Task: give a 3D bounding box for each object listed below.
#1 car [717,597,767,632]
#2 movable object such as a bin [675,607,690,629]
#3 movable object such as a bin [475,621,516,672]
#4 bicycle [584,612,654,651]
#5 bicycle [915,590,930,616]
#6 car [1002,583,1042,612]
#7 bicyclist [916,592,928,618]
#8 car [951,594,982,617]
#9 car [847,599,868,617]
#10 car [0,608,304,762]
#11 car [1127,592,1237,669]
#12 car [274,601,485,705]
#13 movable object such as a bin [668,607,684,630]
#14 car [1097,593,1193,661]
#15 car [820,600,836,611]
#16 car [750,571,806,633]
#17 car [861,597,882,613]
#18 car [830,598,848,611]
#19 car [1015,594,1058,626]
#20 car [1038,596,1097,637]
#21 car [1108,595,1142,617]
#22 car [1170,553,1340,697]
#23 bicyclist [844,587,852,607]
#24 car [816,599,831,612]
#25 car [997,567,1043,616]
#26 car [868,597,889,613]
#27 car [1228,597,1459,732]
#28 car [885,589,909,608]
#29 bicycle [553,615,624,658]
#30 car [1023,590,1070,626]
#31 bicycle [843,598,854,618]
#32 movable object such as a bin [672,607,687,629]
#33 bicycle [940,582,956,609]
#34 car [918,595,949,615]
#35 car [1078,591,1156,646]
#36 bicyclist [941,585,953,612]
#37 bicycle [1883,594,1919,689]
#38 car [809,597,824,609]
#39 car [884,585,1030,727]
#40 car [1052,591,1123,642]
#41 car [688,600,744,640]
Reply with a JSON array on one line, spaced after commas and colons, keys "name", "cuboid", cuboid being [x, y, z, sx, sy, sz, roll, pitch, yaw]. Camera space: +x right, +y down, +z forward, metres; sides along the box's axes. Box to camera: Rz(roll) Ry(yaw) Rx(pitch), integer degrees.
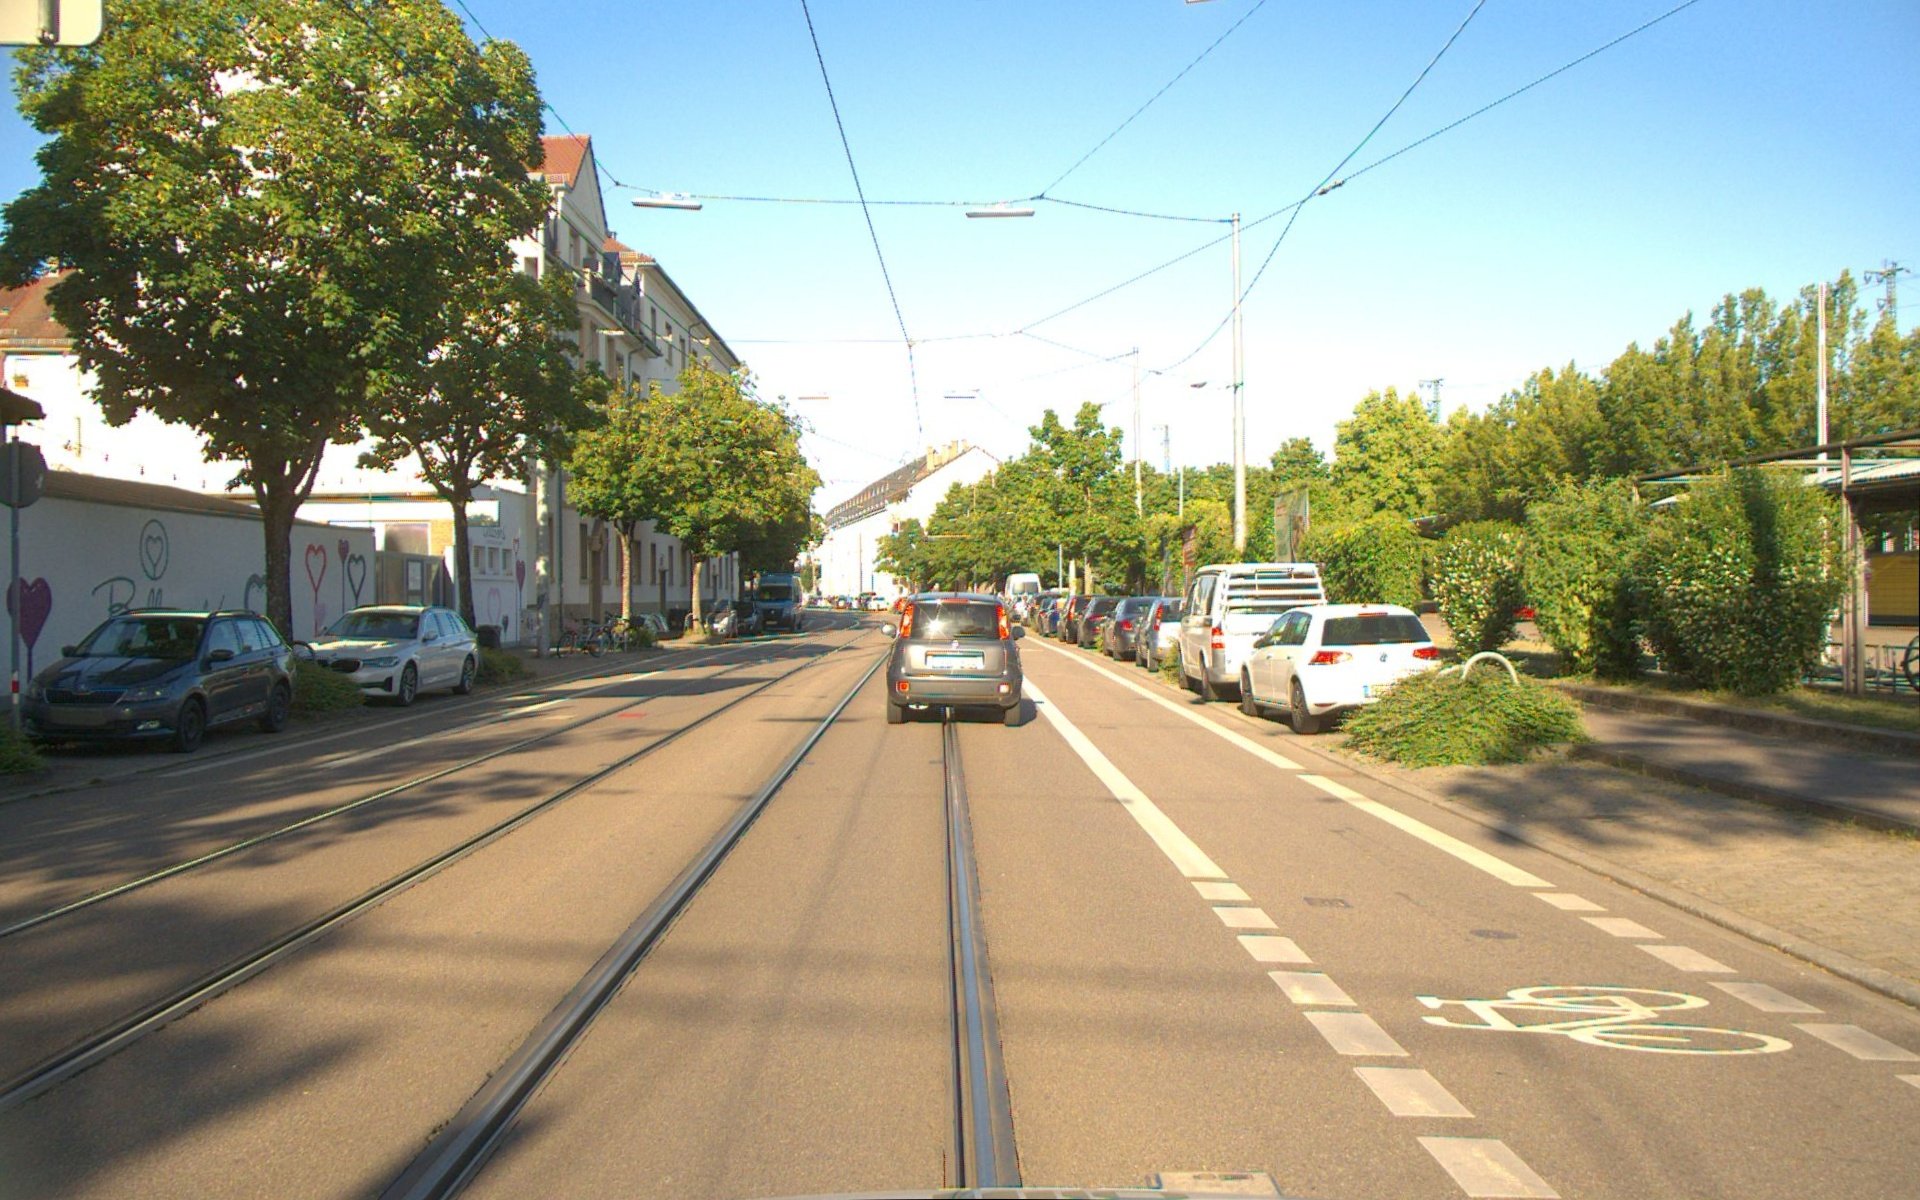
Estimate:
[{"name": "car", "cuboid": [-9.482, 0.624, 72.139, 1.617, 1.450, 4.189, 1, 0, 0]}, {"name": "movable object such as a bin", "cuboid": [-12.233, 0.792, 72.867, 0.584, 0.951, 0.568, -1, 0, -4]}, {"name": "movable object such as a bin", "cuboid": [-9.569, 0.952, 34.067, 0.570, 0.976, 0.702, 5, 0, -1]}, {"name": "bicycle", "cuboid": [-9.474, 0.878, 45.987, 0.523, 1.058, 1.974, 0, -1, 43]}, {"name": "bicycle", "cuboid": [-2.692, 0.209, 118.295, 0.663, 1.777, 2.151, 1, 0, -11]}, {"name": "car", "cuboid": [3.393, -0.134, 91.049, 1.872, 1.556, 4.599, -1, 0, -2]}, {"name": "bicyclist", "cuboid": [-2.720, 0.353, 118.333, 0.687, 1.790, 0.755, 1, -1, -12]}, {"name": "car", "cuboid": [0.425, 0.388, 116.894, 1.657, 1.556, 3.993, -2, 0, -7]}, {"name": "car", "cuboid": [-11.260, 0.855, 181.254, 1.626, 1.978, 4.651, 1, 0, -11]}, {"name": "car", "cuboid": [-9.060, 0.860, 18.659, 1.737, 1.512, 4.303, 1, 0, -3]}, {"name": "car", "cuboid": [4.596, 0.616, 34.798, 1.834, 1.498, 4.075, 1, 0, 1]}, {"name": "car", "cuboid": [-9.242, 0.794, 26.756, 1.827, 1.516, 4.660, 1, 0, -1]}, {"name": "movable object such as a bin", "cuboid": [-12.194, 0.786, 71.071, 0.584, 0.951, 0.568, -1, 0, -4]}, {"name": "car", "cuboid": [4.362, 0.620, 39.538, 1.787, 1.510, 4.601, 1, 0, 0]}, {"name": "car", "cuboid": [-16.575, 0.673, 207.988, 1.555, 1.430, 3.367, 1, 0, -12]}, {"name": "car", "cuboid": [-8.734, 0.119, 80.006, 1.976, 2.875, 6.032, 1, 0, 0]}, {"name": "car", "cuboid": [-9.120, 0.472, 170.691, 1.626, 1.599, 3.865, 1, 0, -11]}, {"name": "car", "cuboid": [-14.319, 0.562, 195.482, 1.555, 1.429, 3.367, -4, 1, -12]}, {"name": "car", "cuboid": [3.780, 0.487, 81.998, 1.693, 1.539, 4.249, 1, 0, -3]}, {"name": "car", "cuboid": [4.049, 0.625, 62.933, 1.693, 1.490, 4.338, 1, 0, -3]}, {"name": "car", "cuboid": [8.087, 0.314, 81.312, 1.282, 1.051, 3.055, 1, 0, -2]}, {"name": "car", "cuboid": [4.541, 0.364, 26.211, 1.816, 2.026, 5.242, -1, 0, 1]}, {"name": "bicyclist", "cuboid": [-11.502, -0.314, 170.463, 0.702, 2.049, 0.829, 1, -1, -12]}, {"name": "car", "cuboid": [-17.712, 0.751, 214.314, 1.555, 1.627, 3.367, 1, 0, -12]}, {"name": "car", "cuboid": [3.513, -0.482, 97.880, 2.136, 2.712, 6.088, -3, 0, -2]}, {"name": "car", "cuboid": [-8.190, 0.490, 166.517, 1.626, 1.599, 3.489, 1, 0, -11]}, {"name": "car", "cuboid": [4.661, 0.727, 20.766, 1.642, 1.442, 4.500, -2, 0, -3]}, {"name": "car", "cuboid": [-5.651, -0.139, 148.241, 1.606, 1.534, 3.389, -3, 0, -10]}, {"name": "bicycle", "cuboid": [-9.490, 0.921, 42.340, 0.656, 1.058, 1.779, 0, 0, 36]}, {"name": "car", "cuboid": [4.023, 0.382, 77.219, 1.693, 1.632, 4.339, 1, 0, -3]}, {"name": "bicycle", "cuboid": [-11.527, 0.805, 170.462, 0.728, 2.049, 2.804, 1, 0, -11]}, {"name": "movable object such as a bin", "cuboid": [-12.156, 0.789, 71.667, 0.584, 0.951, 0.568, -1, 0, -4]}, {"name": "bicycle", "cuboid": [-0.799, -0.268, 109.935, 0.663, 1.777, 2.151, 1, 0, -11]}, {"name": "car", "cuboid": [-2.183, 0.416, 133.301, 1.660, 1.556, 3.986, -2, 0, -13]}, {"name": "car", "cuboid": [4.502, 0.513, 47.933, 1.787, 1.477, 4.641, -1, 0, 0]}, {"name": "bicyclist", "cuboid": [-0.862, -0.104, 110.053, 0.687, 1.790, 0.755, 1, -1, -12]}, {"name": "bicycle", "cuboid": [11.164, 0.458, 18.015, 1.856, 1.026, 0.577, 1, 0, 11]}, {"name": "car", "cuboid": [-19.201, 0.389, 221.056, 1.555, 1.627, 3.367, 1, 0, -12]}, {"name": "car", "cuboid": [-0.063, 0.630, 20.754, 1.616, 1.568, 4.234, 1, 0, -1]}, {"name": "car", "cuboid": [4.124, 0.524, 53.984, 1.788, 1.519, 3.813, -2, 0, -3]}, {"name": "car", "cuboid": [-9.675, 0.771, 65.816, 1.617, 1.517, 3.999, 1, 0, 0]}]
